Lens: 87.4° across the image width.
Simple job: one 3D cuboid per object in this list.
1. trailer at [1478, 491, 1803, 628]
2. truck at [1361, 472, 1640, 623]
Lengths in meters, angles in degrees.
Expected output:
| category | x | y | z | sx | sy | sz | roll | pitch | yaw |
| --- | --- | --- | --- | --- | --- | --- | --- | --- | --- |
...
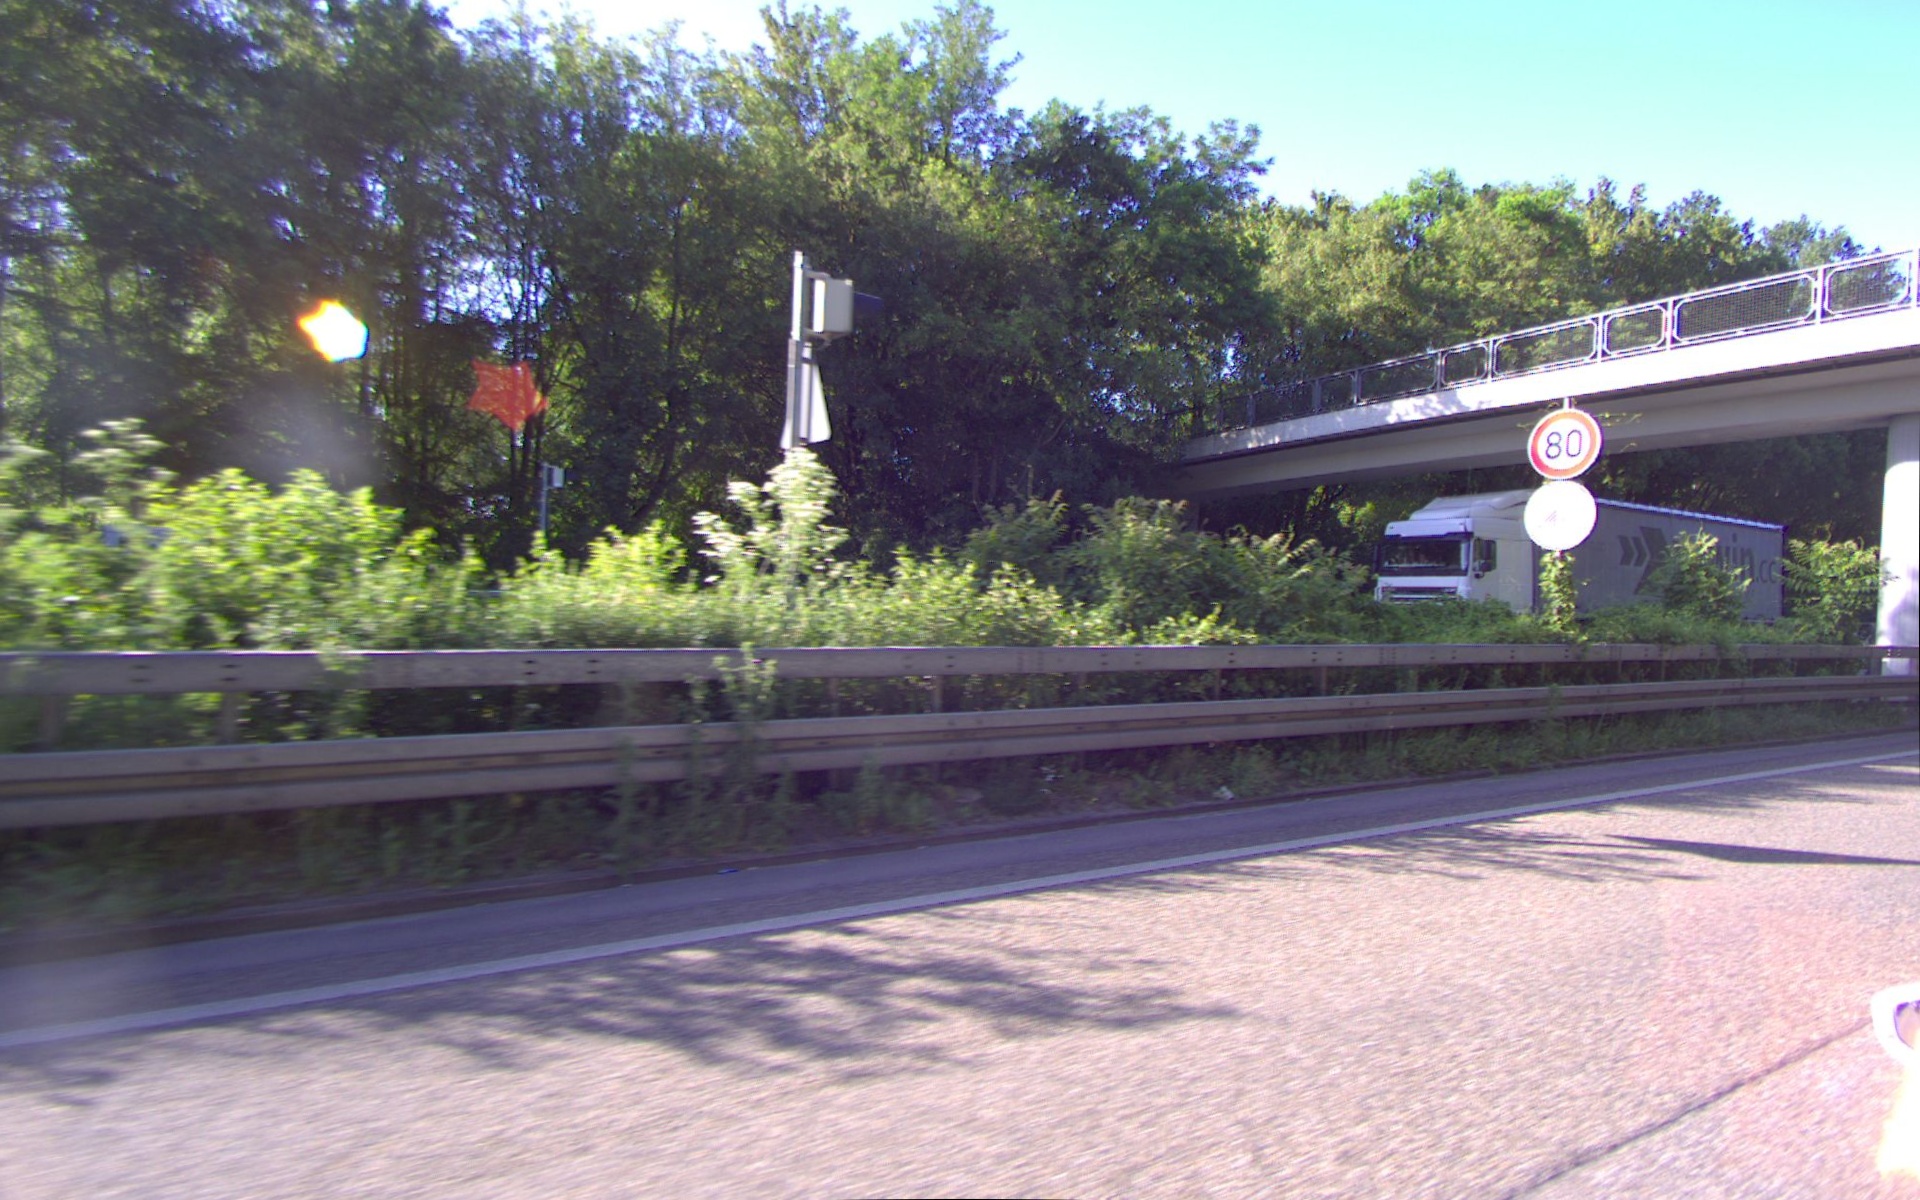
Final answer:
| category | x | y | z | sx | sy | sz | roll | pitch | yaw |
| --- | --- | --- | --- | --- | --- | --- | --- | --- | --- |
| trailer | 19.813 | -0.922 | 28.826 | 11.777 | 3.210 | 2.915 | 2 | 0 | -31 |
| truck | 13.610 | -1.126 | 25.171 | 7.000 | 3.210 | 2.915 | 2 | 0 | -30 |
